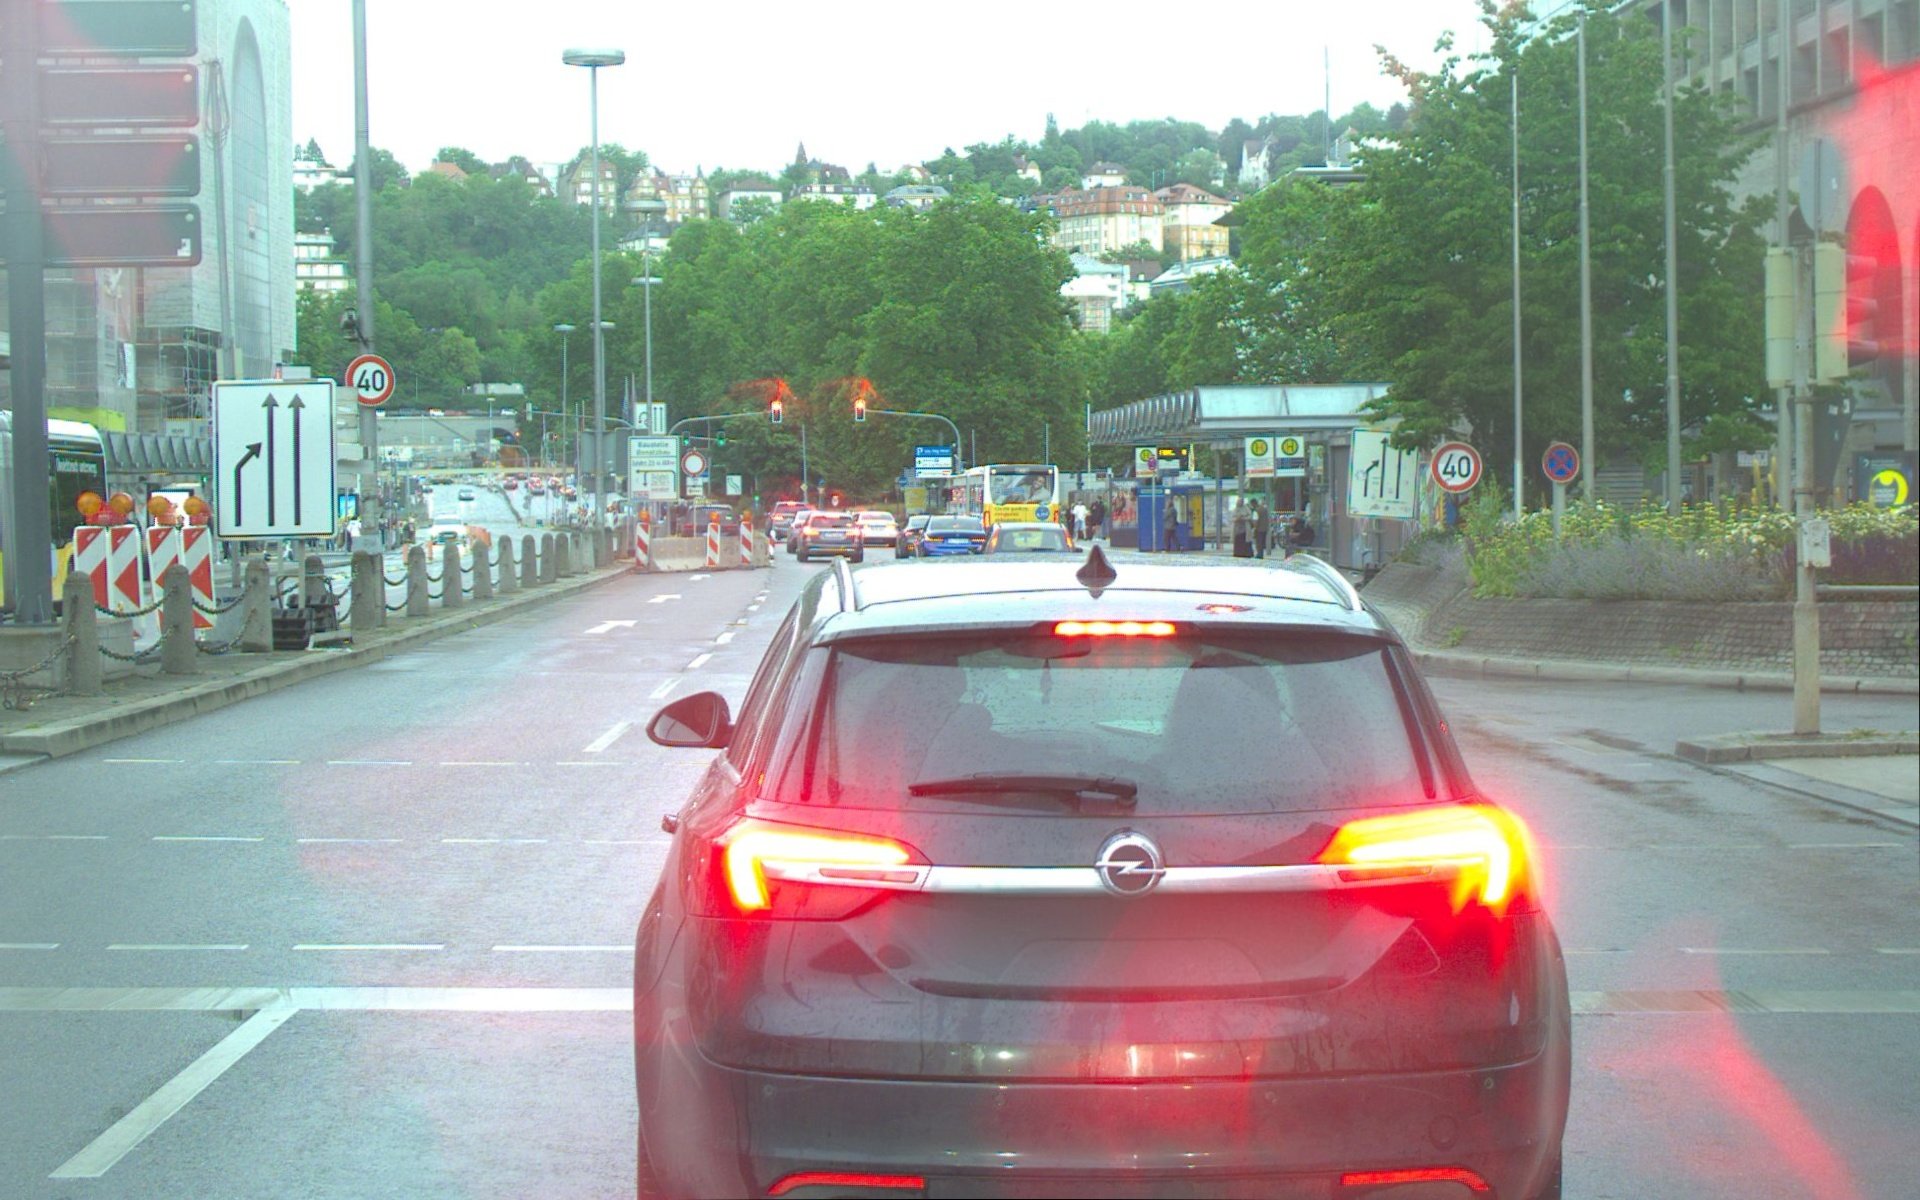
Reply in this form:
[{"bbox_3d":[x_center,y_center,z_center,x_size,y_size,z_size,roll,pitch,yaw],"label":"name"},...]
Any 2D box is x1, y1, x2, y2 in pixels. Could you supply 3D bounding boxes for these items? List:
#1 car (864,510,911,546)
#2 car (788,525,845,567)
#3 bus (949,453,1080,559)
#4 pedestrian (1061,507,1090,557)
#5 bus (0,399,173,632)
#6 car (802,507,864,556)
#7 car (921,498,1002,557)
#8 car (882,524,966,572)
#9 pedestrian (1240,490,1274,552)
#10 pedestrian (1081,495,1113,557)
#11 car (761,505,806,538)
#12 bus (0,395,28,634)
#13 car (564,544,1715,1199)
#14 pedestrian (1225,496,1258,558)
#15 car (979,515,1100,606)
[{"bbox_3d":[-2.922,-2.909,139.128,1.845,1.393,3.564,1,1,-1],"label":"car"},{"bbox_3d":[-4.914,-1.849,118.317,1.845,1.393,3.564,1,1,-1],"label":"car"},{"bbox_3d":[1.785,-3.204,120.872,4.173,3.457,14.655,1,1,-1],"label":"bus"},{"bbox_3d":[5.046,-2.967,150.179,1.199,2.141,1.228,1,1,1],"label":"pedestrian"},{"bbox_3d":[-15.846,-1.393,58.368,2.668,3.589,10.212,1,1,-1],"label":"bus"},{"bbox_3d":[-3.695,-1.987,100.470,1.753,1.393,4.538,1,1,-2],"label":"car"},{"bbox_3d":[0.020,-1.804,86.359,1.753,1.393,4.649,1,1,-3],"label":"car"},{"bbox_3d":[-1.107,-1.582,103.868,1.752,1.393,4.403,1,1,-11],"label":"car"},{"bbox_3d":[8.140,-2.162,94.194,0.763,1.684,0.825,1,1,-5],"label":"pedestrian"},{"bbox_3d":[5.414,-2.923,136.402,1.199,2.427,1.228,1,1,1],"label":"pedestrian"},{"bbox_3d":[-7.686,-3.411,149.934,1.759,1.393,3.564,1,1,-1],"label":"car"},{"bbox_3d":[-15.717,-1.256,48.045,2.668,3.589,10.240,1,1,-1],"label":"bus"},{"bbox_3d":[0.255,0.637,7.644,1.874,1.481,4.000,1,1,-1],"label":"car"},{"bbox_3d":[7.815,-2.018,95.391,0.763,1.684,0.825,1,1,-5],"label":"pedestrian"},{"bbox_3d":[1.253,-0.642,55.640,1.845,1.393,3.667,1,1,0],"label":"car"}]
